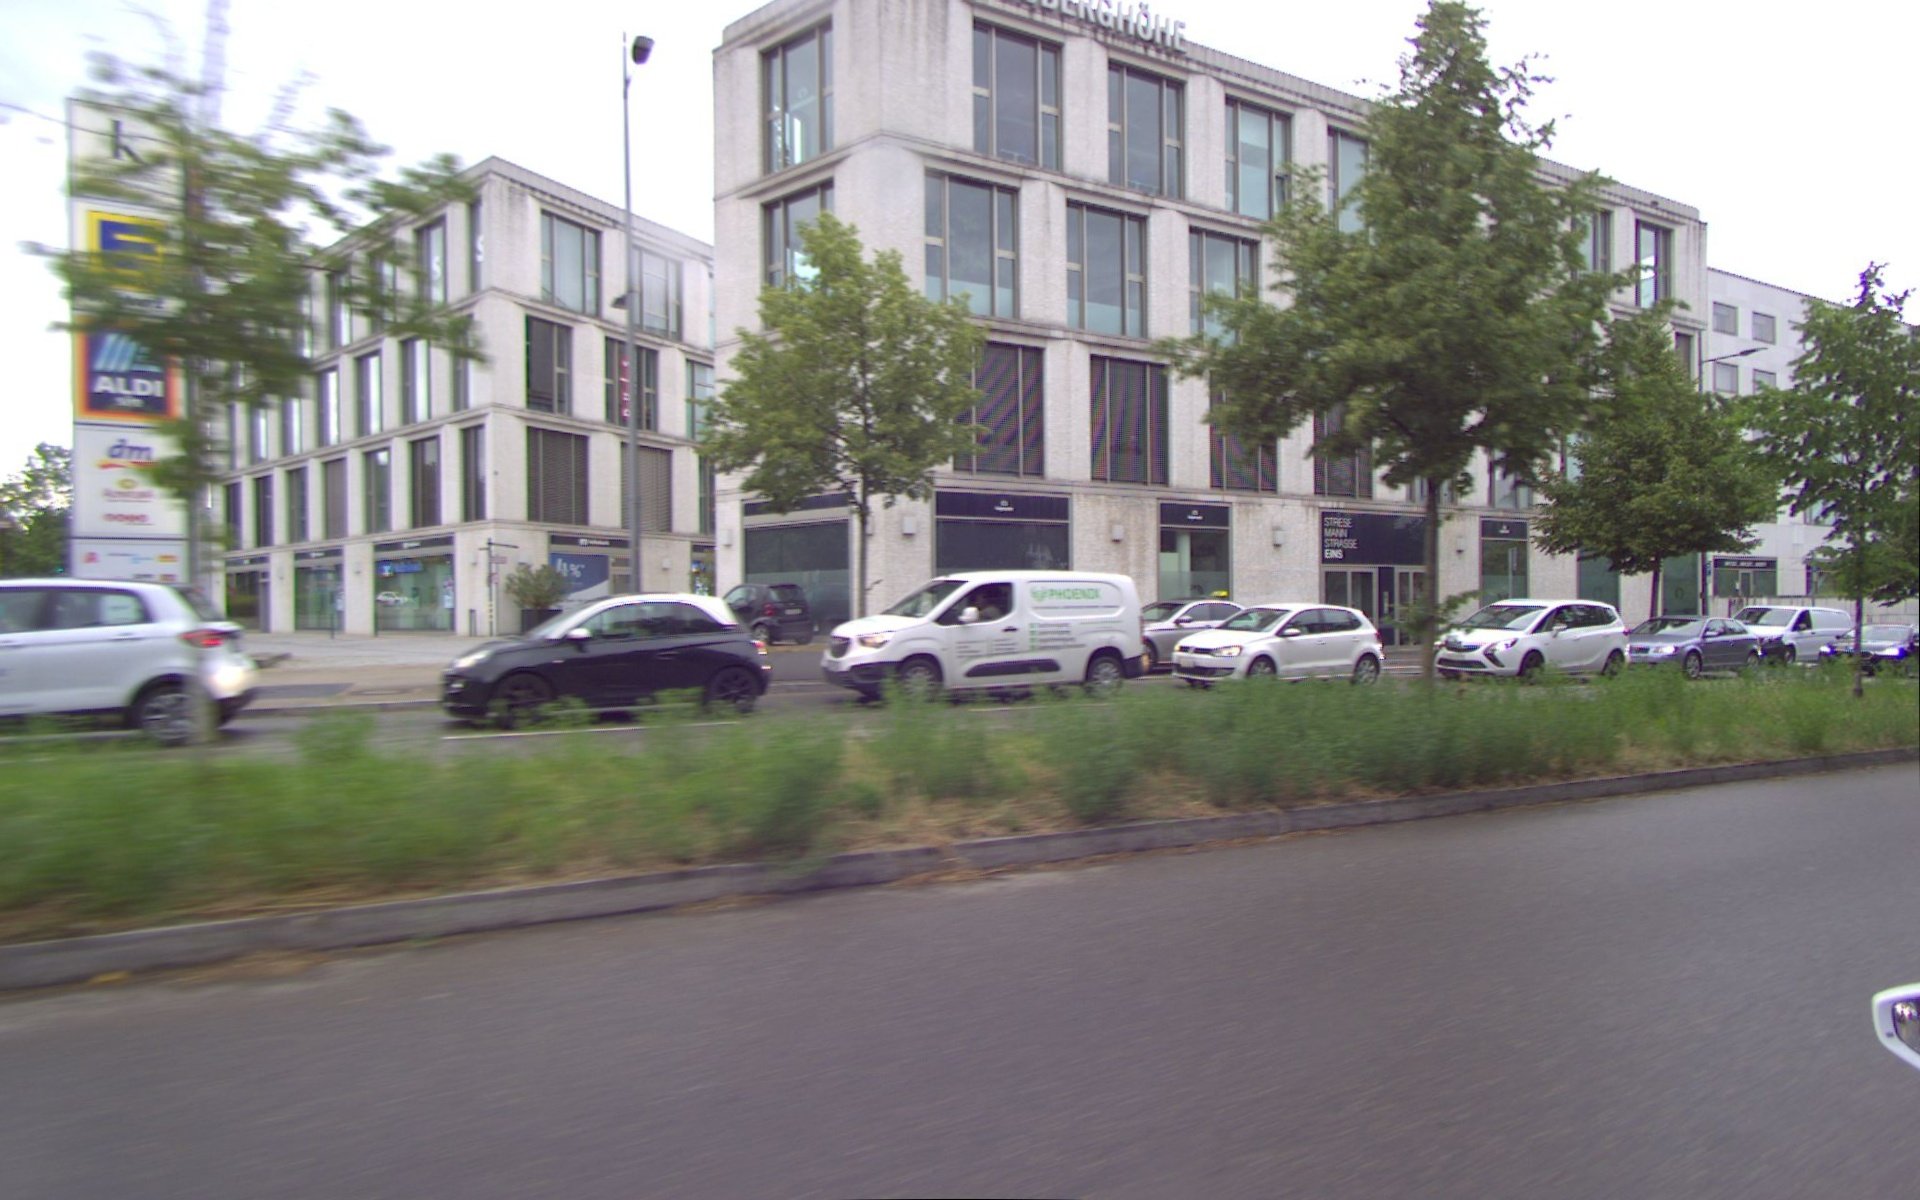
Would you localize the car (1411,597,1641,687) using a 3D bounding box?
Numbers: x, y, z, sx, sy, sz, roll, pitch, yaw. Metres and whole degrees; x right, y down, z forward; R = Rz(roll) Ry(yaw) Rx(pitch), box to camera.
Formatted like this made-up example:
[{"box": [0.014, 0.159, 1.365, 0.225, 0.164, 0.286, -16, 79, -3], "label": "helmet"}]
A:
[{"box": [11.471, 0.774, 20.305, 4.614, 1.622, 1.822, -1, 0, -28], "label": "car"}]

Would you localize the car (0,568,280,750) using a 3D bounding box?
[{"box": [-8.800, 0.533, 9.576, 3.656, 1.597, 1.643, -1, 0, -29], "label": "car"}]

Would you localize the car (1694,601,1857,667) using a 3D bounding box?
[{"box": [25.080, 1.058, 30.858, 5.197, 1.840, 2.112, 2, -1, -29], "label": "car"}]

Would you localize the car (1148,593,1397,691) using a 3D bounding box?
[{"box": [5.363, 0.653, 17.179, 4.008, 1.487, 1.737, -1, 0, -28], "label": "car"}]

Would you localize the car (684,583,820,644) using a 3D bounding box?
[{"box": [-5.157, 0.295, 24.790, 3.244, 1.395, 1.561, 1, 1, 37], "label": "car"}]

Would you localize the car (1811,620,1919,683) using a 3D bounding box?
[{"box": [25.449, 1.372, 27.716, 3.967, 1.602, 1.688, 1, 0, -28], "label": "car"}]

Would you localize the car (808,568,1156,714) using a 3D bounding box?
[{"box": [0.357, 0.469, 14.385, 4.712, 1.826, 1.836, -1, 2, -28], "label": "car"}]

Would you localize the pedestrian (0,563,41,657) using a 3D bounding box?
[{"box": [-17.583, 0.177, 18.462, 0.737, 1.709, 0.681, 1, 1, 3], "label": "pedestrian"}]

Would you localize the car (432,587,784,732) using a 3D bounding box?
[{"box": [-4.132, 0.614, 11.940, 3.700, 1.480, 1.709, -1, 0, -26], "label": "car"}]

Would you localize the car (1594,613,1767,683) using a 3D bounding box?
[{"box": [16.579, 1.041, 23.093, 3.945, 1.429, 1.635, -1, 0, -28], "label": "car"}]
